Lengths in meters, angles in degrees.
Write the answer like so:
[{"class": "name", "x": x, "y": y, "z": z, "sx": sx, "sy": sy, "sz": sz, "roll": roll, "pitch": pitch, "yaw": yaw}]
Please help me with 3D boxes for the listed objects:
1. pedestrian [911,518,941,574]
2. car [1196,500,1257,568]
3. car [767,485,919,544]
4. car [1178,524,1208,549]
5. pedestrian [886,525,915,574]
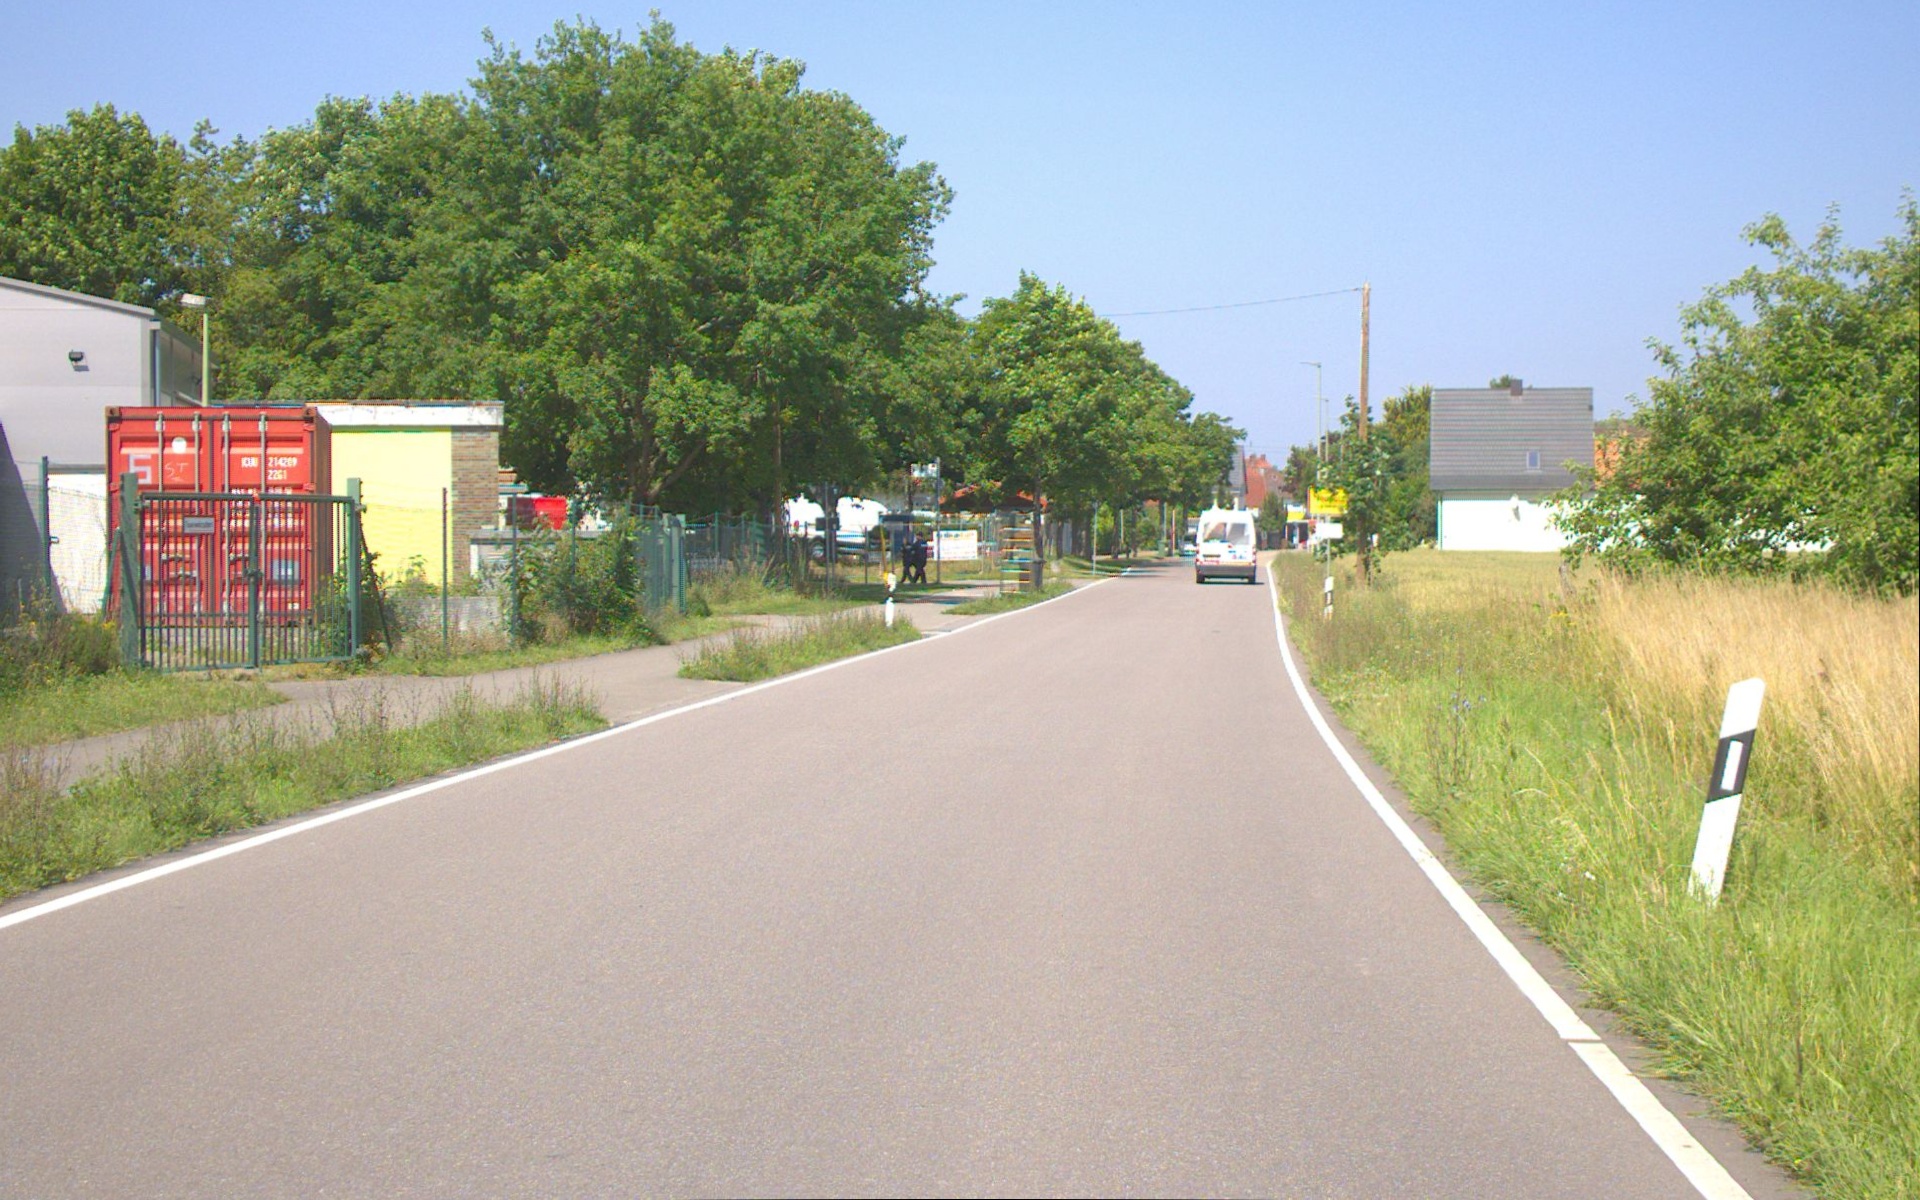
[{"class": "pedestrian", "x": -1.107, "y": -1.765, "z": 111.831, "sx": 0.721, "sy": 1.796, "sz": 0.709, "roll": 0, "pitch": 1, "yaw": 29}, {"class": "car", "x": 9.045, "y": -2.249, "z": 116.341, "sx": 1.994, "sy": 2.258, "sz": 4.725, "roll": 0, "pitch": 1, "yaw": 5}, {"class": "car", "x": -4.489, "y": -3.292, "z": 132.352, "sx": 5.595, "sy": 2.258, "sz": 2.000, "roll": -1, "pitch": 1, "yaw": -33}, {"class": "car", "x": 14.663, "y": -3.987, "z": 215.994, "sx": 1.771, "sy": 1.585, "sz": 3.999, "roll": 0, "pitch": 1, "yaw": 5}, {"class": "pedestrian", "x": -1.925, "y": -1.643, "z": 111.326, "sx": 0.678, "sy": 1.560, "sz": 0.718, "roll": 0, "pitch": 1, "yaw": 28}]
